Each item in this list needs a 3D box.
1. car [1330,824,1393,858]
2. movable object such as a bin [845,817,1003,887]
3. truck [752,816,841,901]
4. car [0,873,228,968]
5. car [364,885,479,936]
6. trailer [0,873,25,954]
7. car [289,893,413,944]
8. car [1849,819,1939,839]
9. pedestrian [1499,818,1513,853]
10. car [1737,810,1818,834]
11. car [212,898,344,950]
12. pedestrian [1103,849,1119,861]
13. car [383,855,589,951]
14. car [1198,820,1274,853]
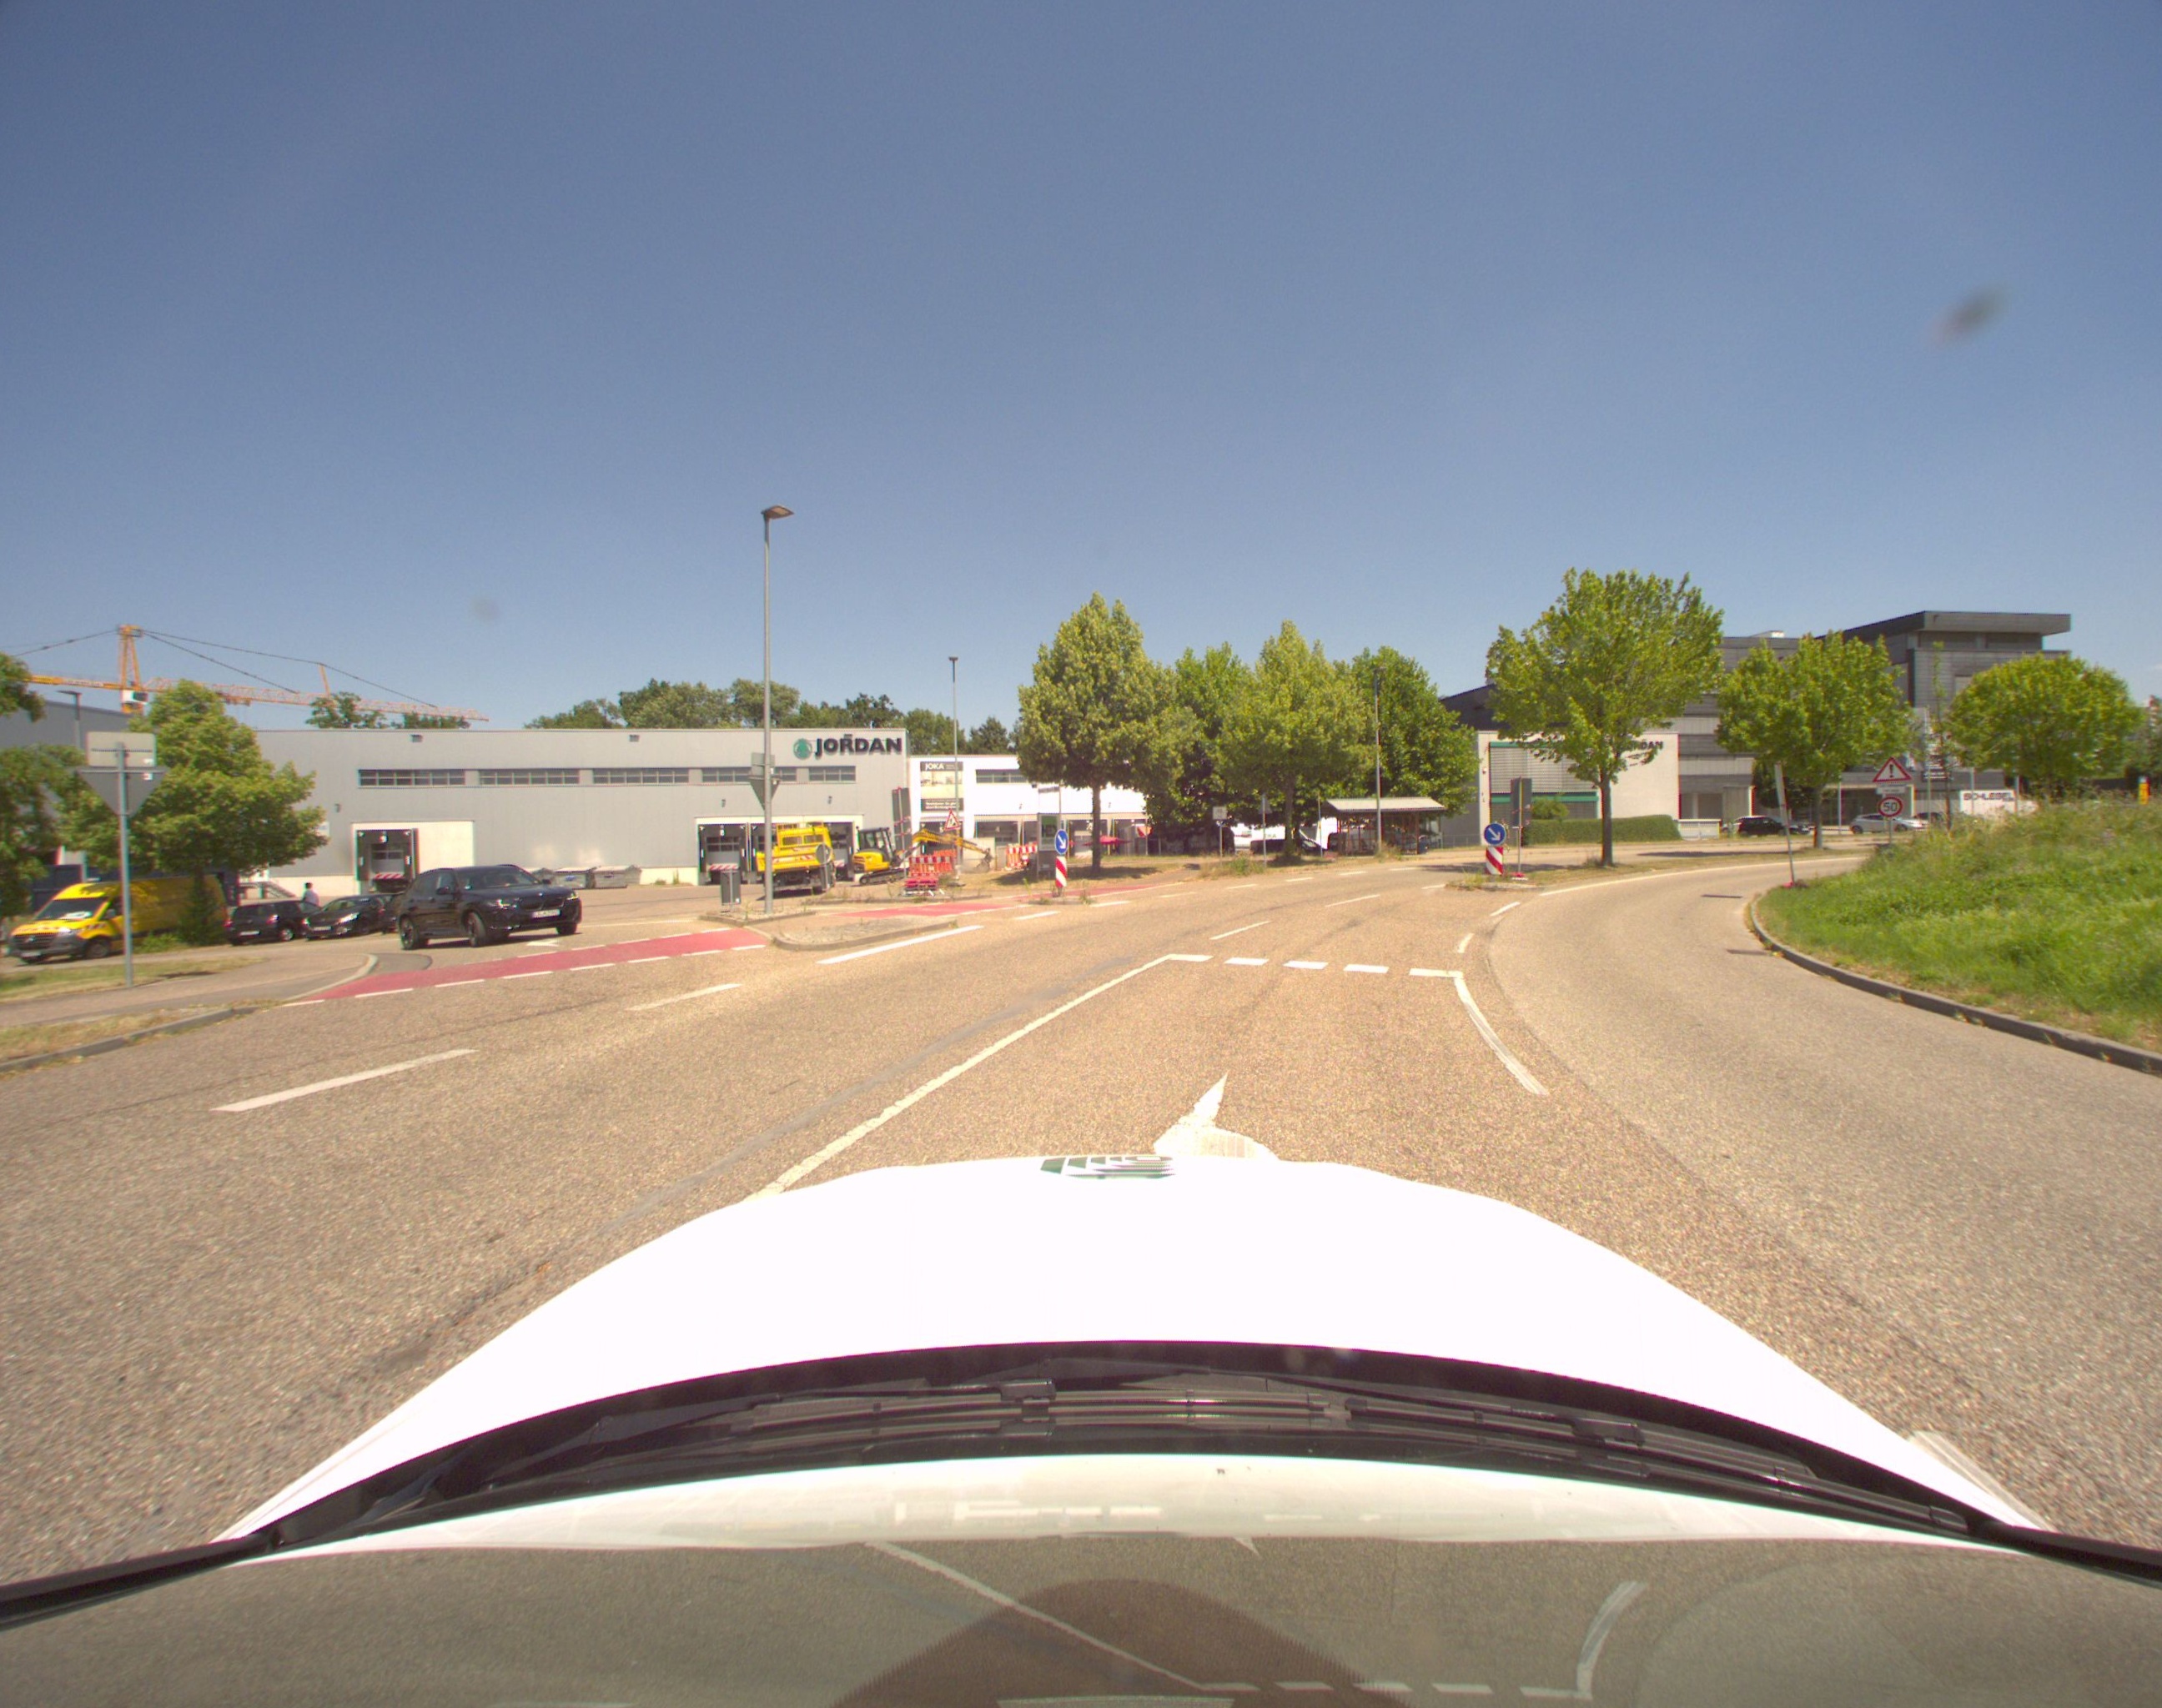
[{"bbox_3d":[17.952,-0.805,52.320,1.548,2.014,4.237,0,-1,-19],"label":"car"},{"bbox_3d":[-6.924,-0.108,36.452,6.543,2.581,1.997,-4,0,-4],"label":"movable object such as a bin"},{"bbox_3d":[-12.037,0.051,34.990,2.590,3.135,6.399,-5,3,-12],"label":"truck"},{"bbox_3d":[-34.347,2.212,29.202,1.993,2.732,5.780,-2,2,-10],"label":"car"},{"bbox_3d":[-24.861,2.082,30.883,1.621,1.462,3.663,-4,2,-8],"label":"car"},{"bbox_3d":[-41.644,2.343,28.245,5.507,2.856,2.654,-3,2,-12],"label":"trailer"},{"bbox_3d":[-27.070,2.343,30.368,1.586,1.507,3.770,-4,1,-10],"label":"car"},{"bbox_3d":[55.244,-1.684,55.461,1.488,1.182,4.263,0,-1,-9],"label":"car"},{"bbox_3d":[20.474,-0.892,39.228,0.525,1.670,0.582,0,-1,19],"label":"pedestrian"},{"bbox_3d":[45.854,-2.086,53.715,1.700,1.379,3.906,-3,0,-9],"label":"car"},{"bbox_3d":[-29.581,2.529,30.158,1.623,1.478,3.602,-3,1,-10],"label":"car"},{"bbox_3d":[1.763,0.053,47.844,0.857,0.695,0.409,-3,0,15],"label":"pedestrian"},{"bbox_3d":[-12.700,1.063,17.312,4.539,1.634,1.882,-5,0,32],"label":"car"},{"bbox_3d":[9.055,-1.020,47.807,3.983,1.728,1.836,-3,0,-7],"label":"car"}]
